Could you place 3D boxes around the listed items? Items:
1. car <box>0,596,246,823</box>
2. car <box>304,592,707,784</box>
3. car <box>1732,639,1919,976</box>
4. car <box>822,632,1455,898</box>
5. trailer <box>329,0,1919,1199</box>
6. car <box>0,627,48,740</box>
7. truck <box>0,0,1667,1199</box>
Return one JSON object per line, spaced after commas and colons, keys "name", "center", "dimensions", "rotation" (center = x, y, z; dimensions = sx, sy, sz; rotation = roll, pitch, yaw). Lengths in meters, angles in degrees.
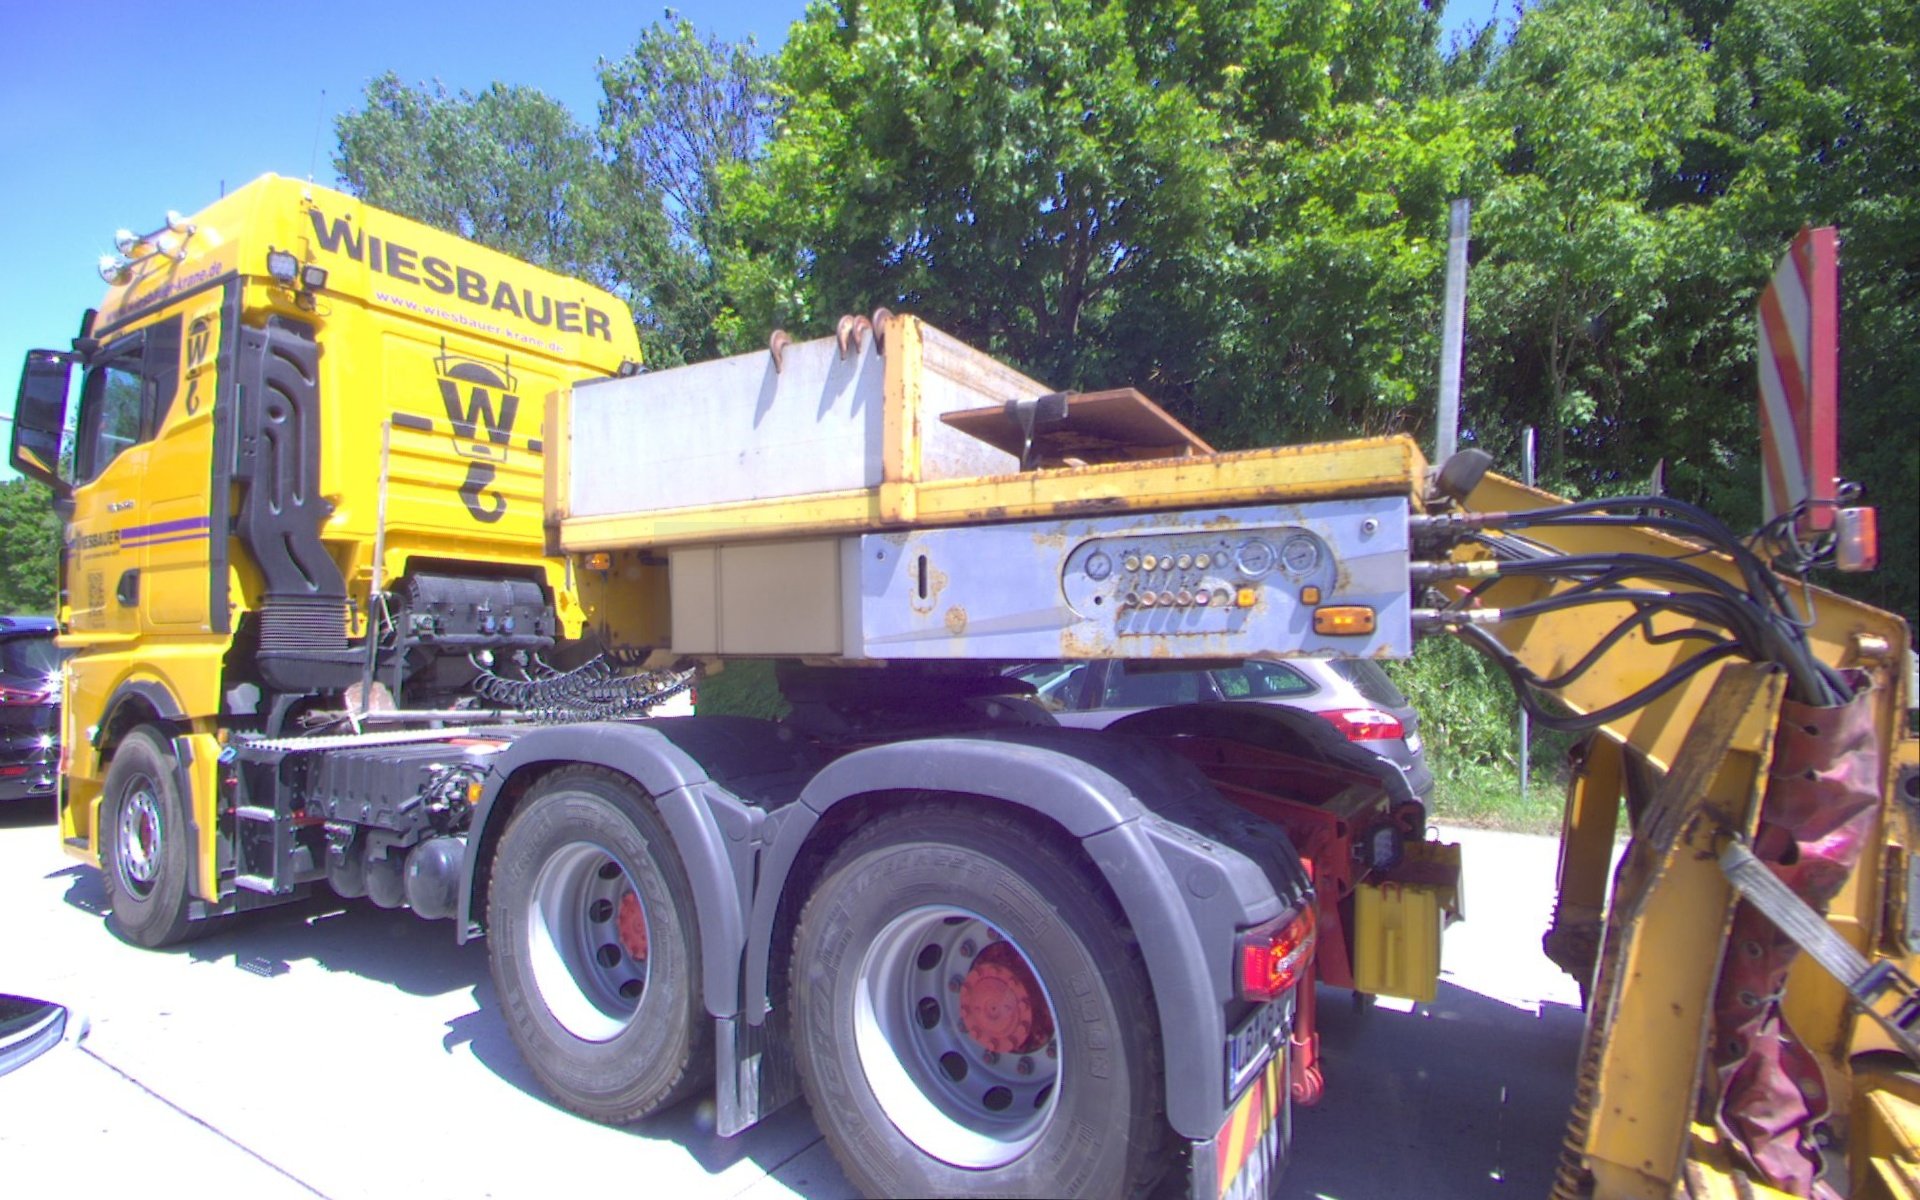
{"name": "car", "center": [-8.561, 0.872, 9.163], "dimensions": [4.583, 1.660, 1.780], "rotation": [-1, -2, 34]}
{"name": "car", "center": [-5.280, 0.913, 11.473], "dimensions": [4.720, 1.830, 1.766], "rotation": [-1, -2, 29]}
{"name": "car", "center": [6.284, 0.912, 4.252], "dimensions": [4.530, 1.481, 1.766], "rotation": [-1, -2, 30]}
{"name": "car", "center": [1.230, 0.992, 7.428], "dimensions": [4.298, 1.481, 1.766], "rotation": [-1, -2, 29]}
{"name": "trailer", "center": [5.486, 0.188, 0.574], "dimensions": [16.117, 2.626, 3.023], "rotation": [-1, -2, 31]}
{"name": "car", "center": [-14.235, 1.092, 13.622], "dimensions": [4.548, 1.428, 1.763], "rotation": [-2, -2, 35]}
{"name": "truck", "center": [-1.330, -0.335, 4.726], "dimensions": [7.361, 3.821, 3.010], "rotation": [-1, -2, 31]}
